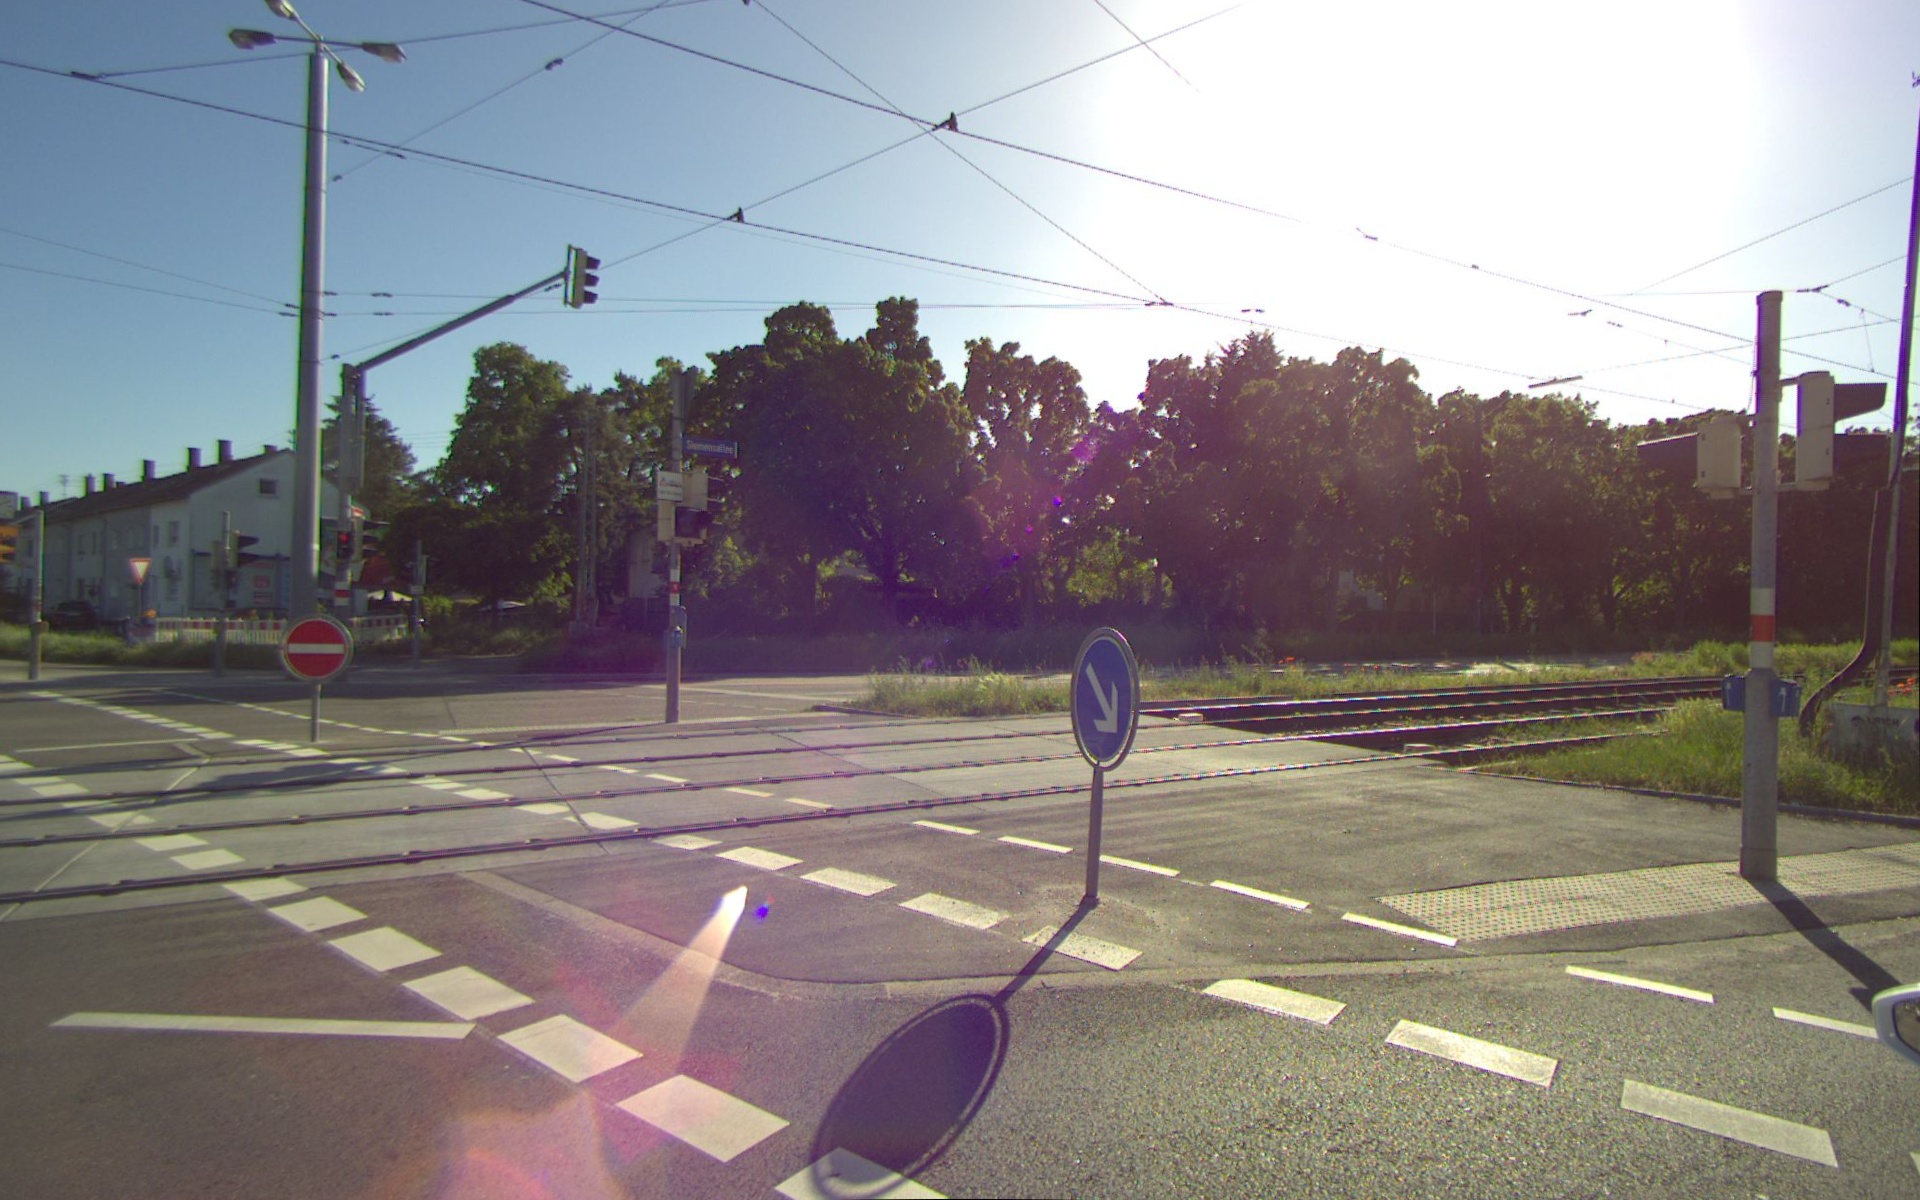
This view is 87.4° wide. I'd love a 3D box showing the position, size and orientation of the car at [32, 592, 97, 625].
[{"bbox_3d":[-50.219,0.474,56.299,3.936,1.785,1.992,1,0,37],"label":"car"}]
